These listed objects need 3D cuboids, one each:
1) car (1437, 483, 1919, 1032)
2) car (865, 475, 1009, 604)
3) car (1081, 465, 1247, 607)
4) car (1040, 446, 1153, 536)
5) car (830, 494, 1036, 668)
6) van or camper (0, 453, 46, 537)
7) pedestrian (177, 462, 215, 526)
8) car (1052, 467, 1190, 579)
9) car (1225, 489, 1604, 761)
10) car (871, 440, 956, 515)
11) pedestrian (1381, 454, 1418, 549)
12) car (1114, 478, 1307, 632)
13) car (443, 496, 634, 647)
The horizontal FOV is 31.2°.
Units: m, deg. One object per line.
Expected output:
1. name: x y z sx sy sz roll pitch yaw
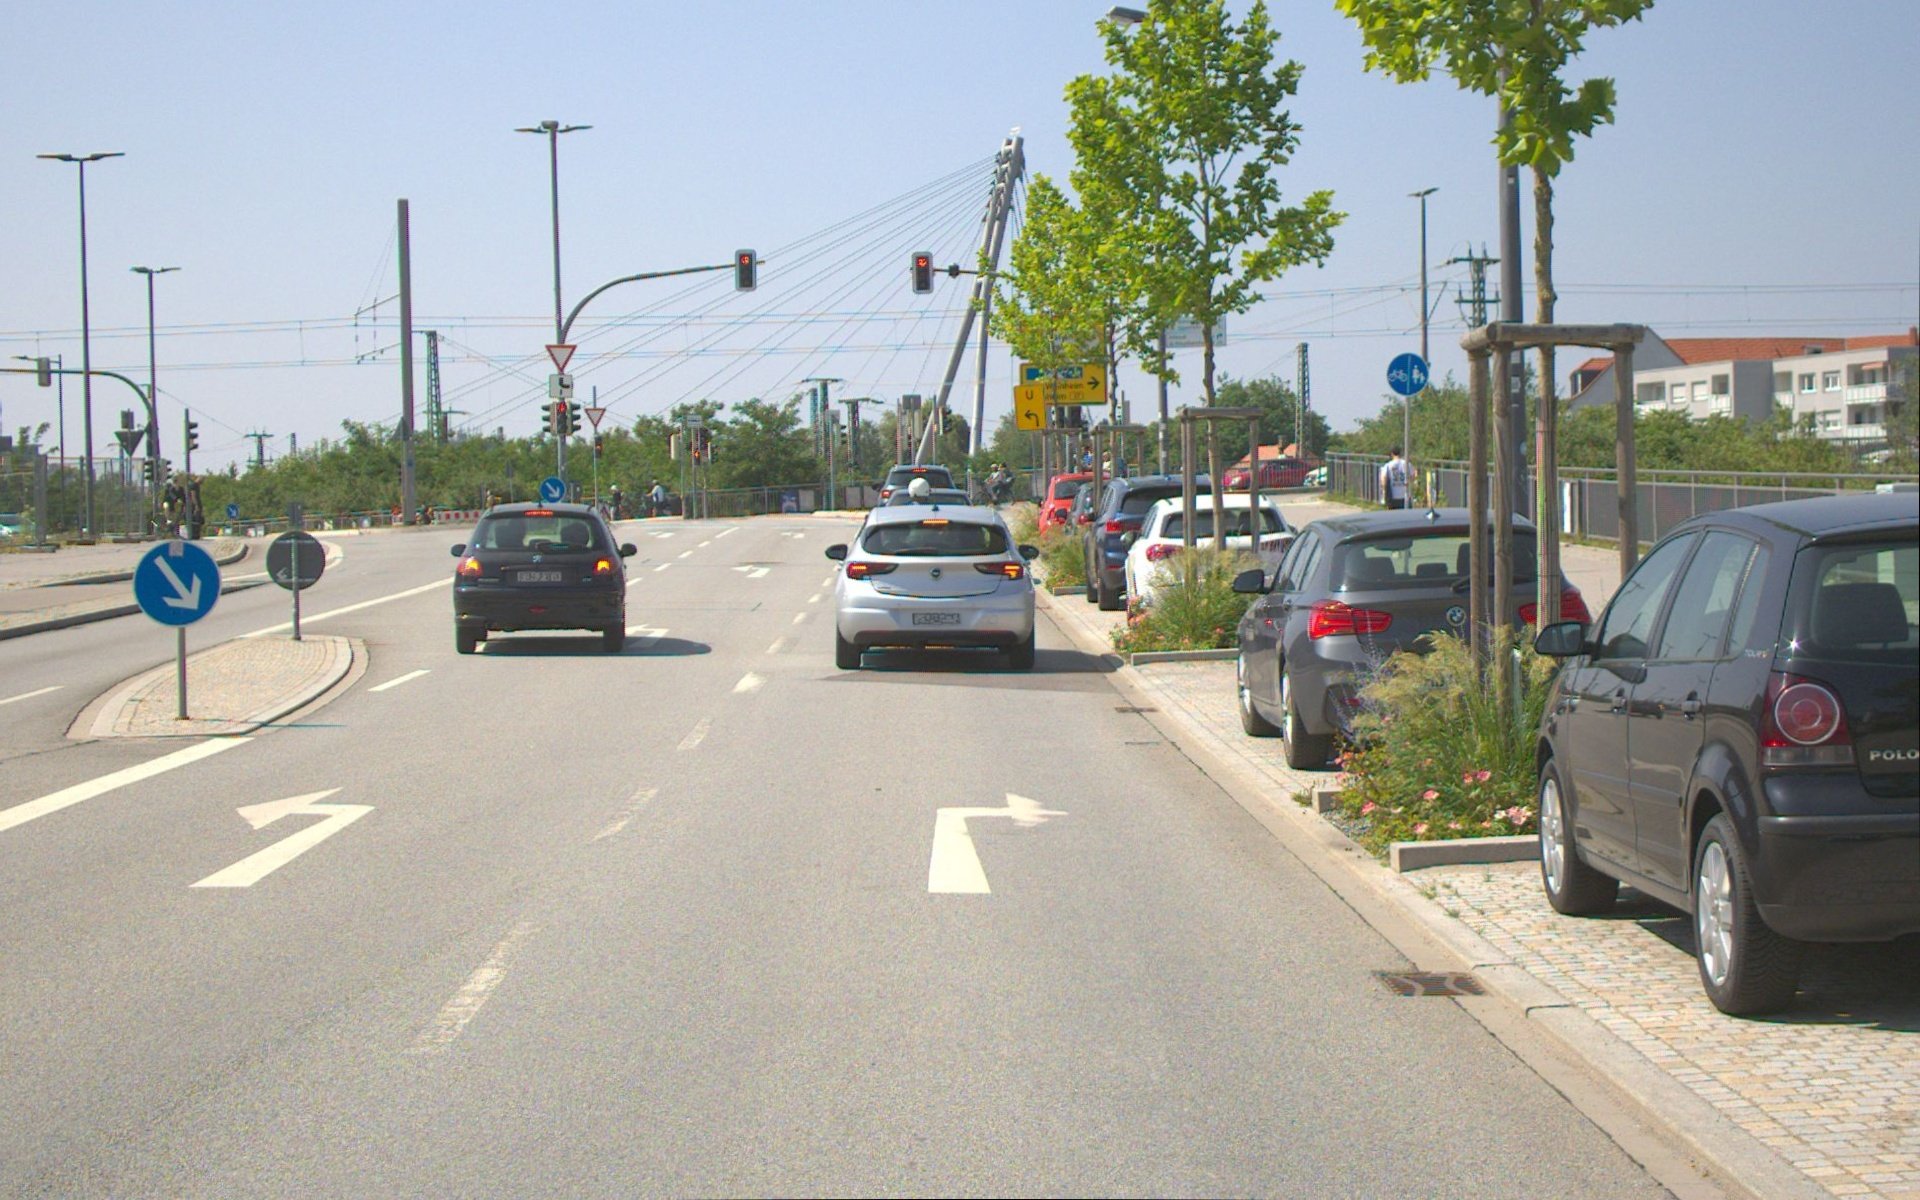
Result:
1. car: 2.800 0.386 11.269 1.704 1.457 3.954 -2 1 -3
2. car: -0.306 -0.829 45.043 1.778 1.563 4.001 -1 3 0
3. car: 2.496 -0.833 42.776 1.822 1.611 3.611 -2 2 1
4. car: 2.391 -1.939 61.018 1.778 1.498 4.001 -2 2 0
5. car: -0.243 -0.228 31.859 1.778 1.437 4.001 -1 3 0
6. van or camper: -23.276 -2.409 77.752 1.998 1.891 4.706 1 0 43
7. pedestrian: -19.726 -2.731 88.773 0.844 1.641 0.828 0 2 -5
8. car: 2.417 -1.188 52.389 1.778 1.498 4.001 -5 2 0
9. car: 2.616 0.100 20.678 1.704 1.397 4.270 -2 1 1
10. car: -1.006 -2.685 74.674 1.778 1.563 4.001 -1 3 0
11. pedestrian: 7.355 -1.636 57.497 0.533 1.570 0.524 1 0 0
12. car: 2.584 -0.513 36.272 1.696 1.470 4.206 -2 2 0
13. car: -4.151 -0.327 34.309 1.619 1.411 3.728 -1 2 -3
